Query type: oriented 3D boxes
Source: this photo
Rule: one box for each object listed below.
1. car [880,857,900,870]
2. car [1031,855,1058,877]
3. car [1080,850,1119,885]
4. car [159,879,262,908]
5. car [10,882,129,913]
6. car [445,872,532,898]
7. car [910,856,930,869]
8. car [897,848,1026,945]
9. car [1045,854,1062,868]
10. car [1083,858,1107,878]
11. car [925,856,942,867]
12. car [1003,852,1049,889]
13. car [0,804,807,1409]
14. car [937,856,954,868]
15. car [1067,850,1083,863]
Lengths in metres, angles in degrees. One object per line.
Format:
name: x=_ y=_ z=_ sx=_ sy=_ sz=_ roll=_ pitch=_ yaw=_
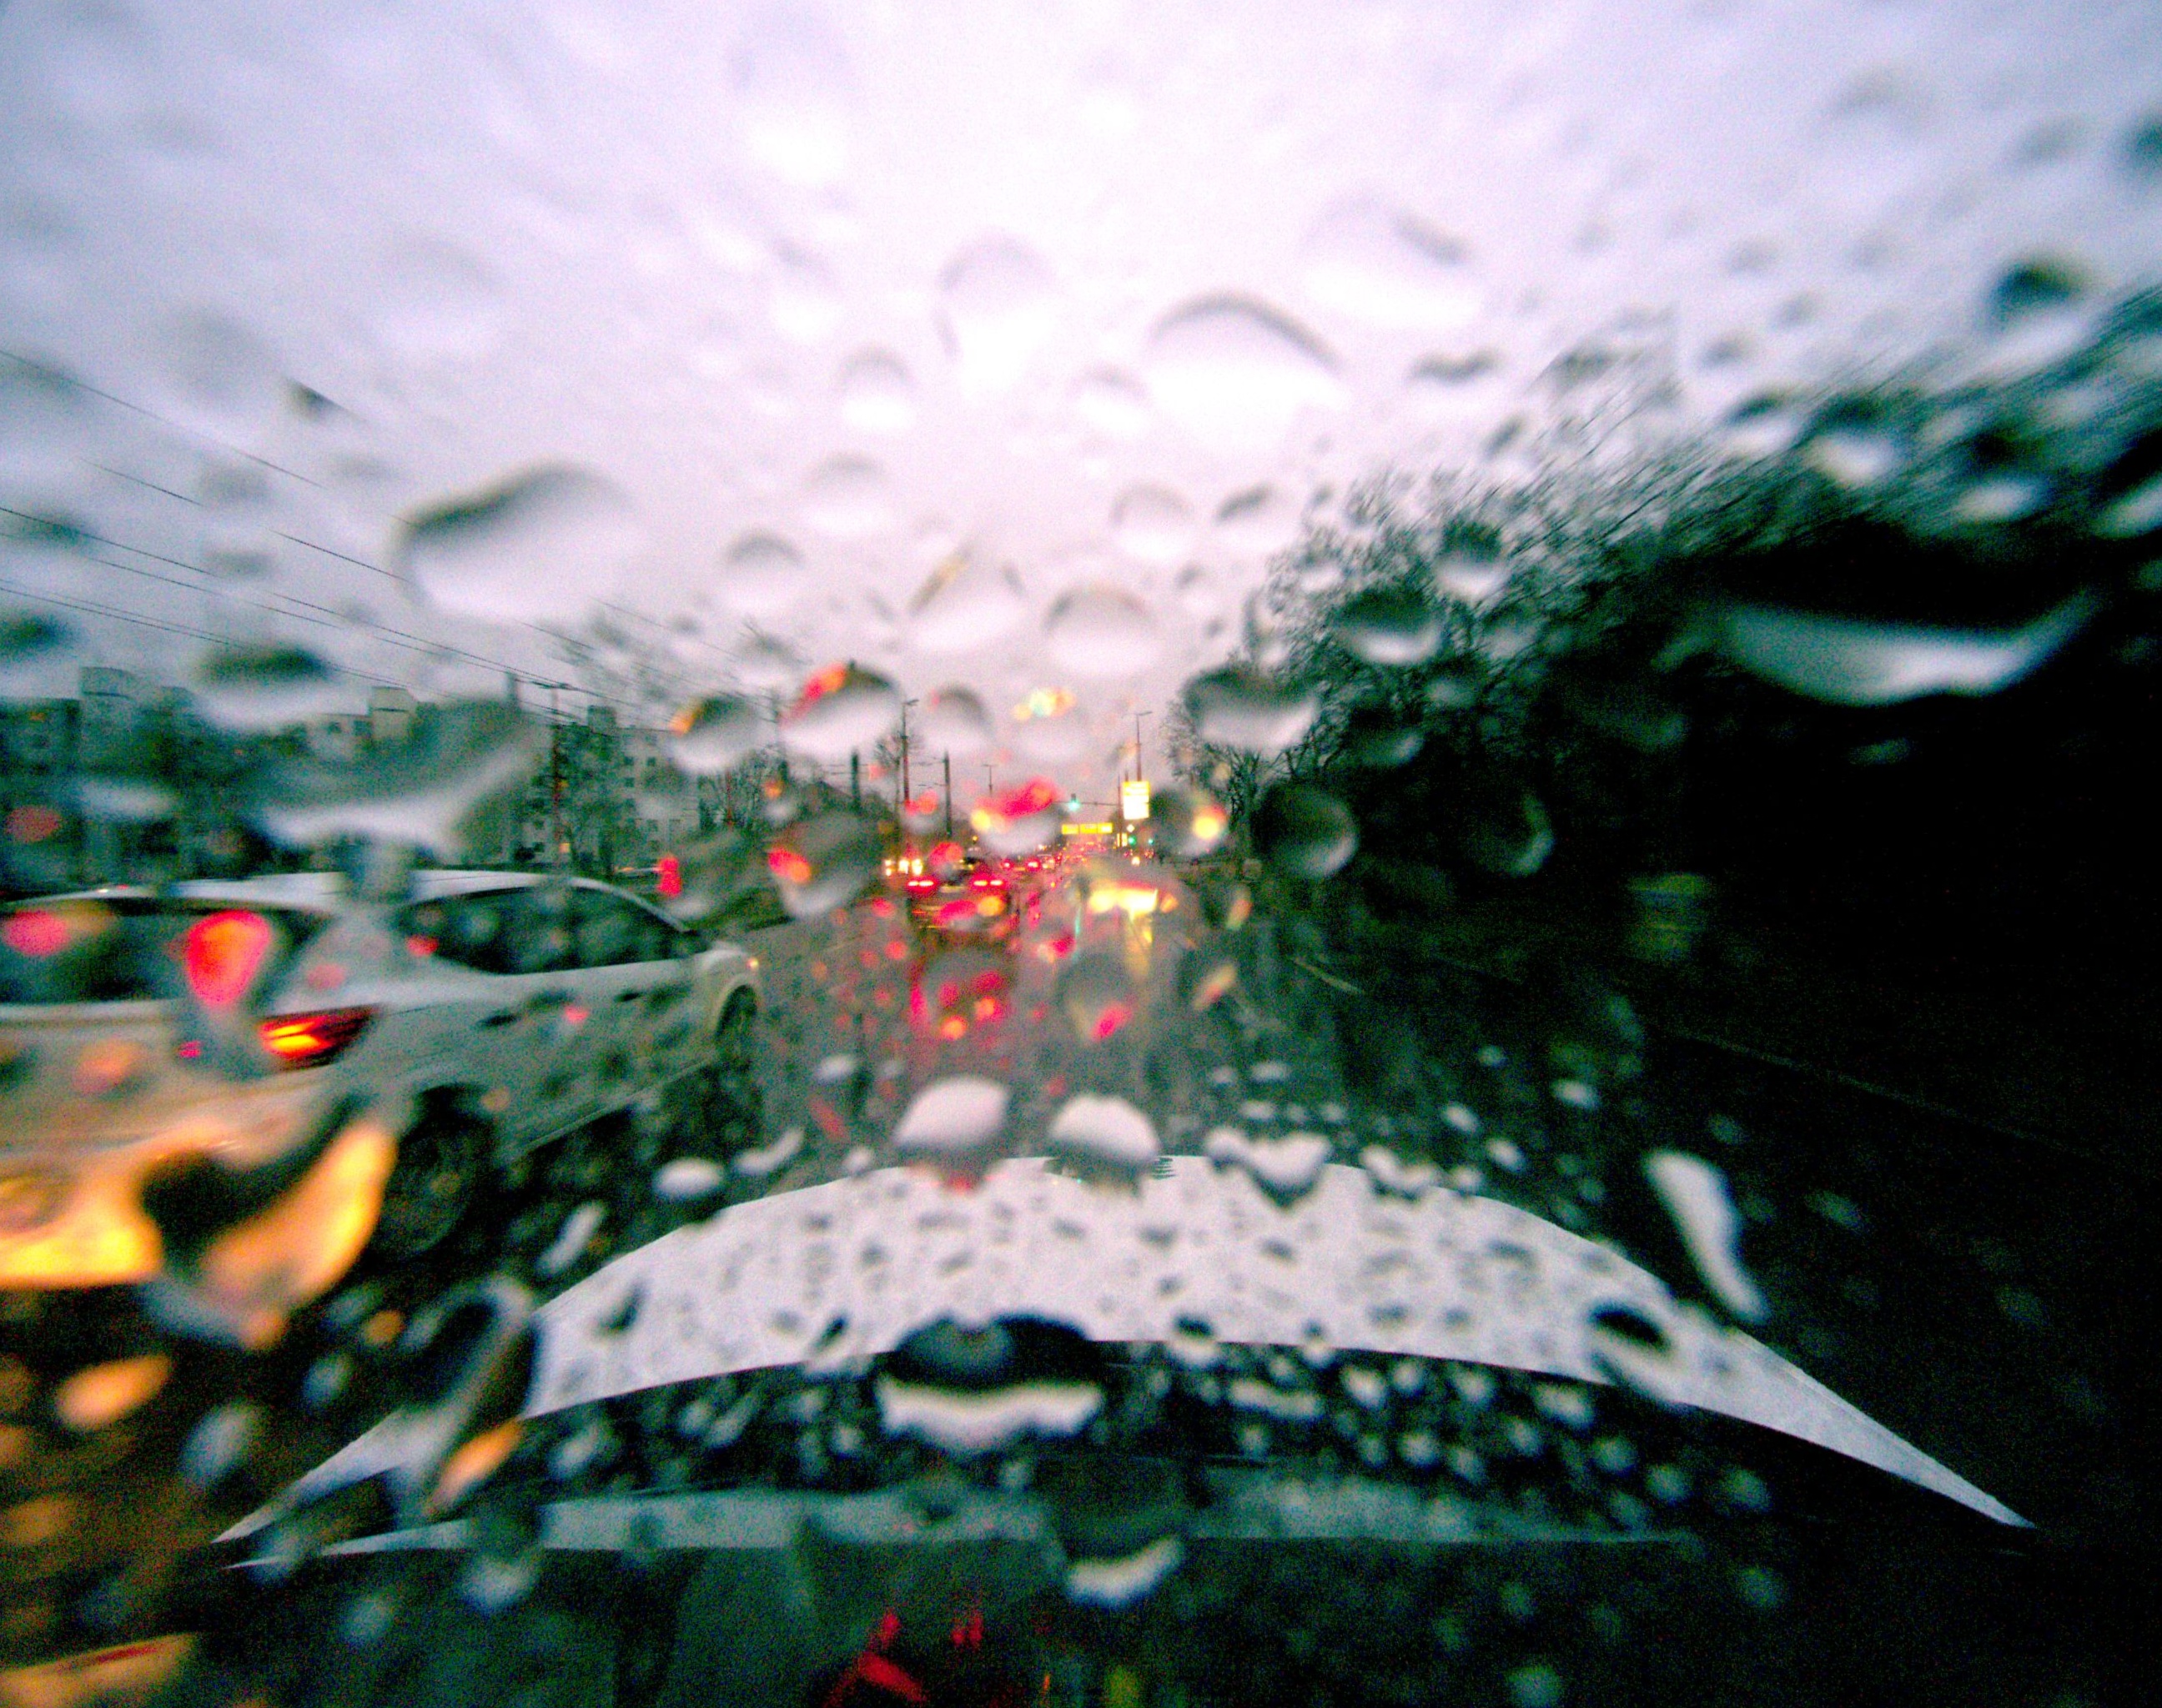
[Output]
car: x=-24.802 y=1.190 z=105.978 sx=1.613 sy=1.495 sz=4.017 roll=-2 pitch=0 yaw=1
car: x=-2.863 y=0.903 z=65.003 sx=1.816 sy=1.648 sz=4.001 roll=-2 pitch=0 yaw=1
car: x=0.939 y=0.637 z=41.992 sx=1.816 sy=1.648 sz=4.467 roll=-2 pitch=0 yaw=1
car: x=-54.258 y=2.436 z=50.873 sx=4.009 sy=1.544 sz=1.698 roll=-2 pitch=0 yaw=-27
car: x=-59.613 y=2.521 z=48.080 sx=4.009 sy=1.544 sz=1.698 roll=-2 pitch=0 yaw=-27
car: x=-40.011 y=2.064 z=55.102 sx=4.450 sy=1.544 sz=1.835 roll=-2 pitch=0 yaw=-27
car: x=-20.731 y=1.050 z=104.799 sx=1.764 sy=1.553 sz=3.946 roll=-2 pitch=0 yaw=-1
car: x=-2.247 y=0.742 z=16.484 sx=1.816 sy=1.648 sz=4.467 roll=-2 pitch=0 yaw=1
car: x=-2.791 y=0.702 z=83.232 sx=1.500 sy=1.339 sz=4.001 roll=-2 pitch=0 yaw=1
car: x=1.167 y=1.176 z=69.558 sx=1.987 sy=1.662 sz=4.000 roll=0 pitch=0 yaw=1
car: x=-20.305 y=1.058 z=112.189 sx=1.616 sy=1.427 sz=3.909 roll=-2 pitch=0 yaw=0
car: x=-2.554 y=0.747 z=38.736 sx=1.816 sy=1.648 sz=4.001 roll=-2 pitch=0 yaw=1
car: x=-3.073 y=0.706 z=4.323 sx=1.708 sy=1.648 sz=4.148 roll=-2 pitch=0 yaw=1
car: x=-17.698 y=0.993 z=106.465 sx=1.647 sy=1.420 sz=3.326 roll=-2 pitch=0 yaw=0
car: x=-0.761 y=0.341 z=101.200 sx=1.816 sy=1.504 sz=4.001 roll=-2 pitch=0 yaw=1
